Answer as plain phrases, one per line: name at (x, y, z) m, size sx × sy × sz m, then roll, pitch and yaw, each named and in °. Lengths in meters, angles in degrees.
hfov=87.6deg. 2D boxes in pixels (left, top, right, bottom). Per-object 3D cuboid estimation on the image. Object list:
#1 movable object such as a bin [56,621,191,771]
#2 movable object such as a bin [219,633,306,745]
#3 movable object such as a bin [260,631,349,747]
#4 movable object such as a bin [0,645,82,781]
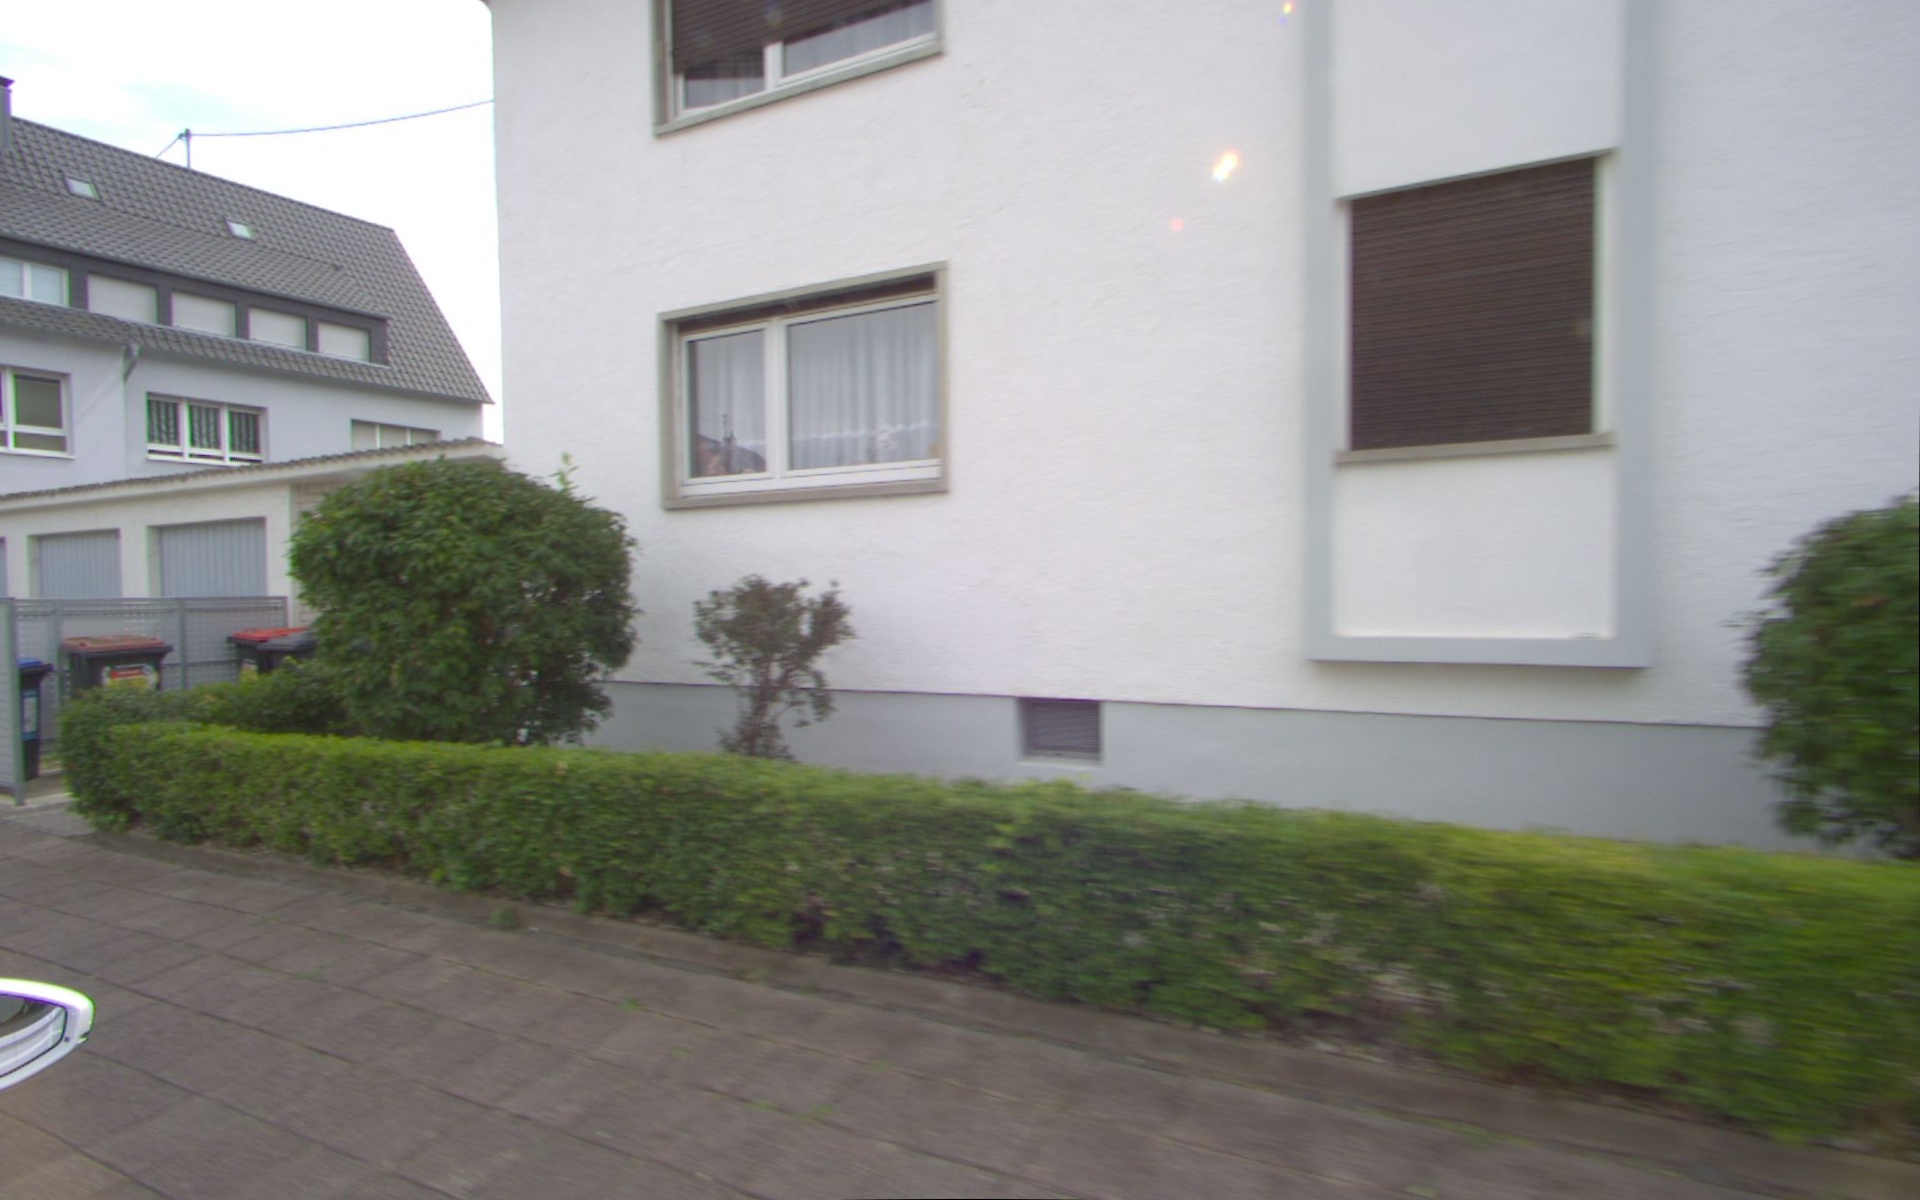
movable object such as a bin at (-6.855, 0.766, 8.213) m, size 0.743 × 1.152 × 0.579 m, roll -2°, pitch 0°, yaw 28°
movable object such as a bin at (-6.447, 0.811, 9.260) m, size 0.499 × 0.986 × 0.453 m, roll -2°, pitch 0°, yaw 29°
movable object such as a bin at (-5.865, 0.782, 8.964) m, size 0.499 × 0.986 × 0.453 m, roll -2°, pitch 0°, yaw 29°
movable object such as a bin at (-7.119, 0.855, 7.684) m, size 0.507 × 0.986 × 0.389 m, roll -2°, pitch 0°, yaw 28°
